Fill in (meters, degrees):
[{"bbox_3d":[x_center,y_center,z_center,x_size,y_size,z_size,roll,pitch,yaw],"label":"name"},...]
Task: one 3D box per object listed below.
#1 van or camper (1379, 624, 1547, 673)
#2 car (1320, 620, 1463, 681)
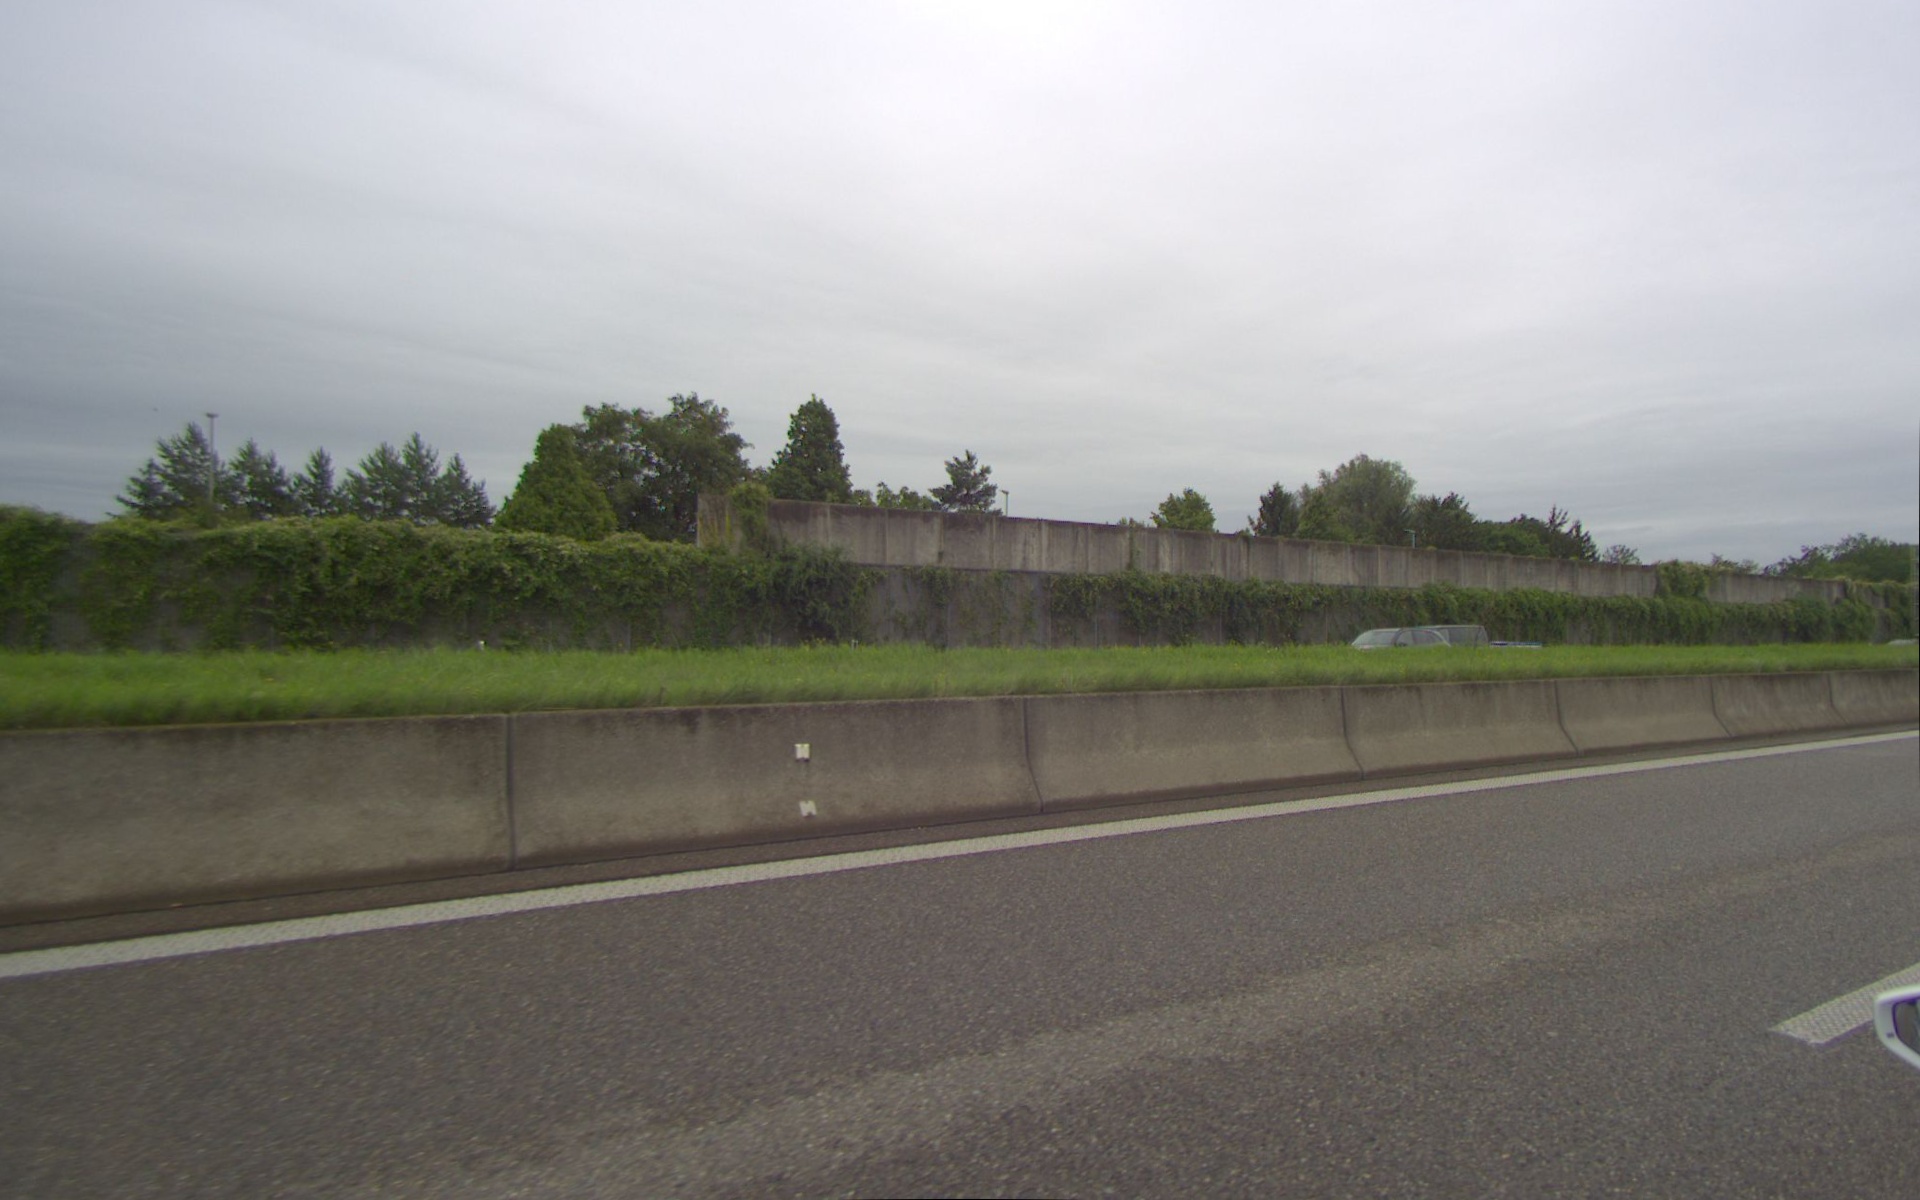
[{"bbox_3d":[21.124,2.003,41.960,8.341,1.824,2.180,2,0,-31],"label":"van or camper"},{"bbox_3d":[12.881,1.480,29.934,4.246,1.654,1.773,2,0,-32],"label":"car"}]
